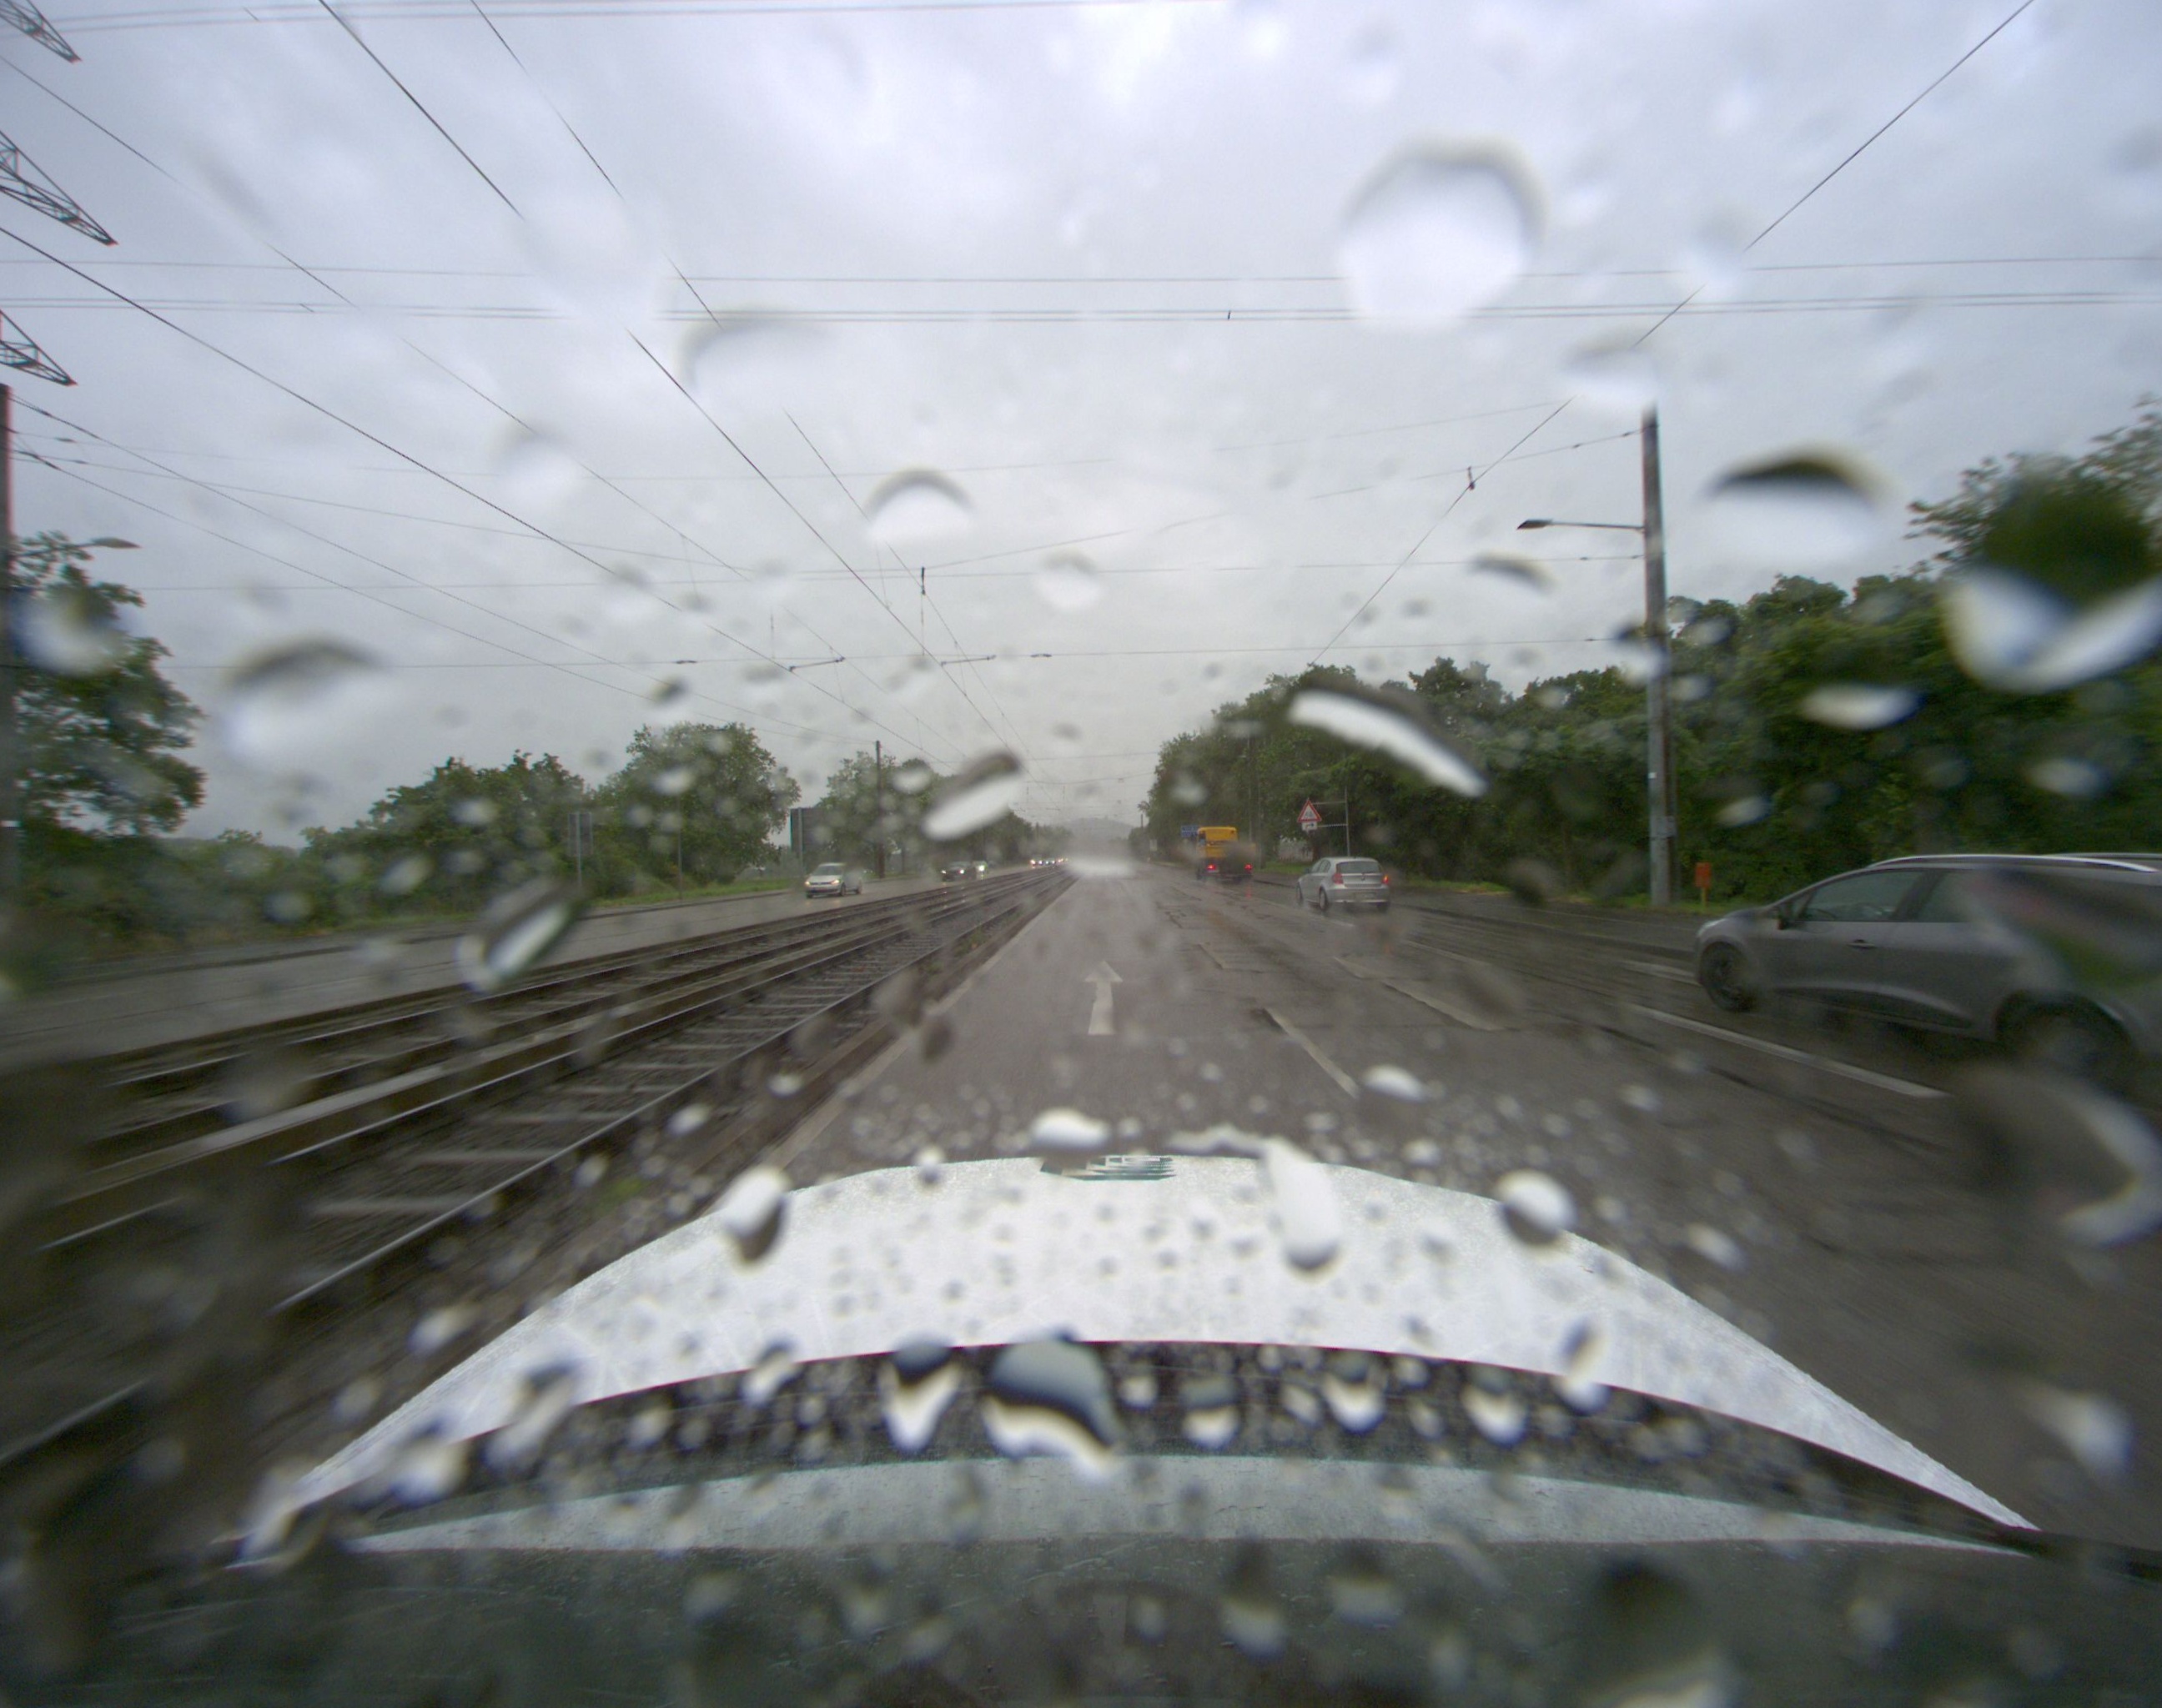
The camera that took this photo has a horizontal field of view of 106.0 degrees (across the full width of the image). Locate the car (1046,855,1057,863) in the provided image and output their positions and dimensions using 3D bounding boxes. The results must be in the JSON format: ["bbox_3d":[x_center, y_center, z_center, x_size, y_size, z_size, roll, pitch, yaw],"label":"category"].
[{"bbox_3d":[-5.431,0.882,151.908,1.735,1.354,4.548,0,1,2],"label":"car"}]

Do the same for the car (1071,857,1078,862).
[{"bbox_3d":[-1.903,1.617,242.393,1.782,1.549,5.321,0,1,5],"label":"car"}]

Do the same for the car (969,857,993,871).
[{"bbox_3d":[-10.679,1.025,87.476,1.751,1.362,5.074,0,1,2],"label":"car"}]

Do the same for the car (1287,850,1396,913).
[{"bbox_3d":[7.052,0.673,22.531,1.621,1.503,4.607,0,1,1],"label":"car"}]

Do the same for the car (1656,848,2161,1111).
[{"bbox_3d":[6.745,0.649,6.214,1.880,1.357,4.281,0,1,3],"label":"car"}]

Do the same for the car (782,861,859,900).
[{"bbox_3d":[-12.081,1.176,38.157,1.835,1.574,5.068,0,1,1],"label":"car"}]

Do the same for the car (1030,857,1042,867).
[{"bbox_3d":[-8.542,1.444,155.211,1.881,1.809,5.004,0,1,0],"label":"car"}]

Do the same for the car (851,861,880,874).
[{"bbox_3d":[-30.933,1.936,116.912,4.592,1.686,1.858,1,1,45],"label":"car"}]

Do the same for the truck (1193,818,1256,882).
[{"bbox_3d":[7.686,-0.247,44.413,2.545,3.257,6.939,0,1,3],"label":"truck"}]

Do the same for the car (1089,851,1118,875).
[{"bbox_3d":[1.684,0.631,58.596,1.981,1.684,3.743,0,1,3],"label":"car"}]

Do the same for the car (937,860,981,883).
[{"bbox_3d":[-9.004,1.264,60.425,1.984,1.464,5.258,-3,0,5],"label":"car"}]
